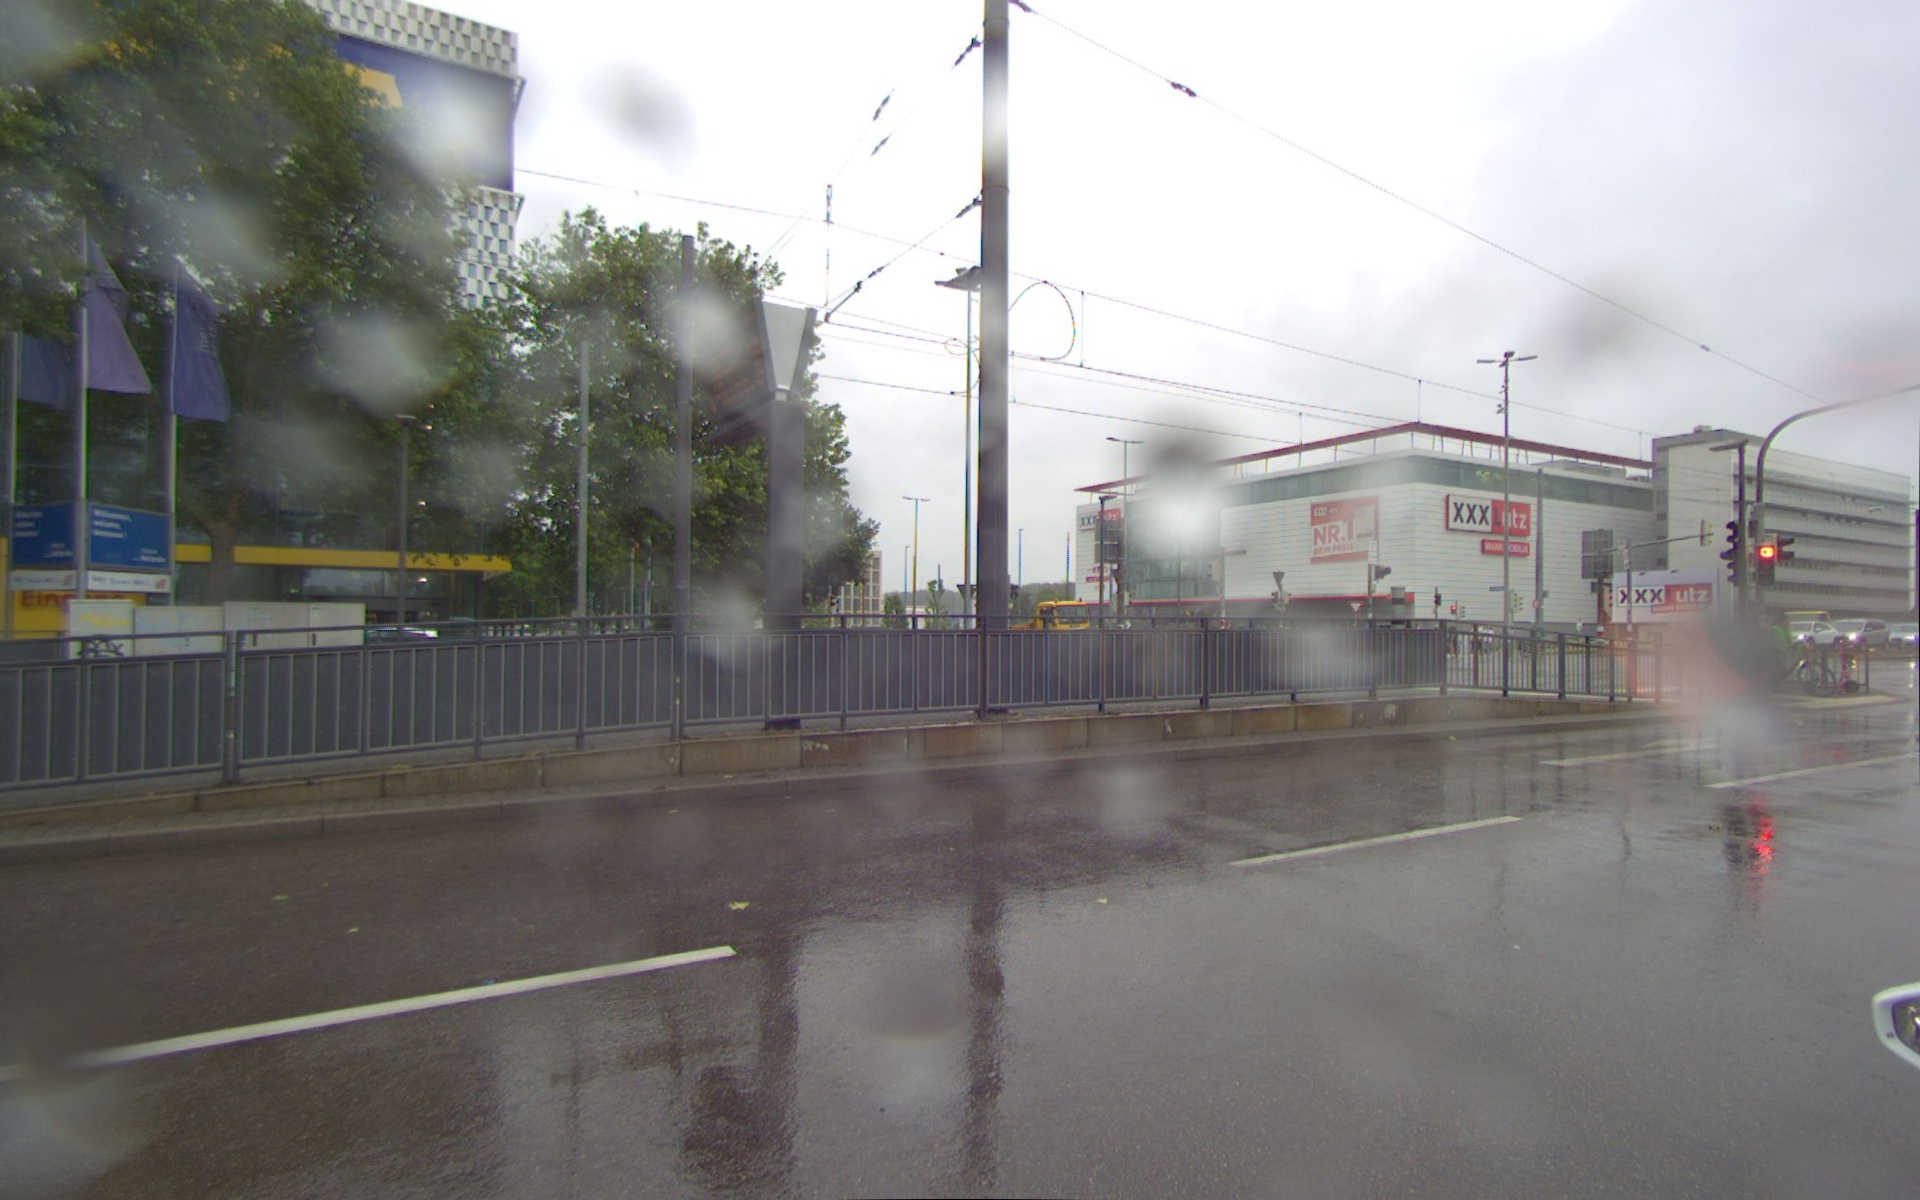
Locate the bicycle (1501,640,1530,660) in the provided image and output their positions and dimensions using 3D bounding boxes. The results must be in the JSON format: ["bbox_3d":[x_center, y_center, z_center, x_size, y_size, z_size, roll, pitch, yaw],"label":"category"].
[{"bbox_3d":[28.338,2.569,51.222,1.688,1.000,0.448,2,0,-30],"label":"bicycle"}]

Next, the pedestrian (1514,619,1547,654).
[{"bbox_3d":[27.497,1.766,48.421,0.996,1.654,0.917,2,0,-19],"label":"pedestrian"}]

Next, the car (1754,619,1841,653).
[{"bbox_3d":[39.734,1.701,47.667,3.823,1.512,1.693,2,0,-25],"label":"car"}]

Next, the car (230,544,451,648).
[{"bbox_3d":[-13.593,-0.062,22.284,3.954,2.040,1.984,3,0,-31],"label":"car"}]

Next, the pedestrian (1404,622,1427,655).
[{"bbox_3d":[23.267,1.956,51.317,0.914,1.654,0.694,2,0,-42],"label":"pedestrian"}]

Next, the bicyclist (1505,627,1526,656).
[{"bbox_3d":[28.357,2.111,51.250,0.639,1.483,0.681,2,0,-29],"label":"bicyclist"}]

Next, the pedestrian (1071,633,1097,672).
[{"bbox_3d":[5.058,2.150,40.966,0.863,1.557,0.560,2,0,-31],"label":"pedestrian"}]

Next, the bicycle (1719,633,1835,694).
[{"bbox_3d":[16.673,1.280,20.544,0.409,1.048,1.742,2,3,-31],"label":"bicycle"}]

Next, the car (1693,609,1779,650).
[{"bbox_3d":[40.410,1.539,52.295,3.947,2.040,1.987,2,0,-26],"label":"car"}]

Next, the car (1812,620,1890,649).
[{"bbox_3d":[44.774,1.742,50.443,3.780,1.354,1.582,2,0,-26],"label":"car"}]

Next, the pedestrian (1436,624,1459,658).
[{"bbox_3d":[24.281,2.020,50.030,0.914,1.654,0.694,2,0,-42],"label":"pedestrian"}]

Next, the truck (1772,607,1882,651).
[{"bbox_3d":[49.511,1.661,57.303,7.542,2.309,2.341,2,0,-30],"label":"truck"}]

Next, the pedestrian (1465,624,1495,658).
[{"bbox_3d":[26.274,2.075,50.785,1.063,1.654,1.027,2,0,11],"label":"pedestrian"}]

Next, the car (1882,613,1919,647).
[{"bbox_3d":[51.389,1.610,53.607,3.947,1.722,1.886,2,0,-26],"label":"car"}]

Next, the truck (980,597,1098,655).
[{"bbox_3d":[4.096,1.326,53.842,2.612,2.853,7.084,2,0,-31],"label":"truck"}]
